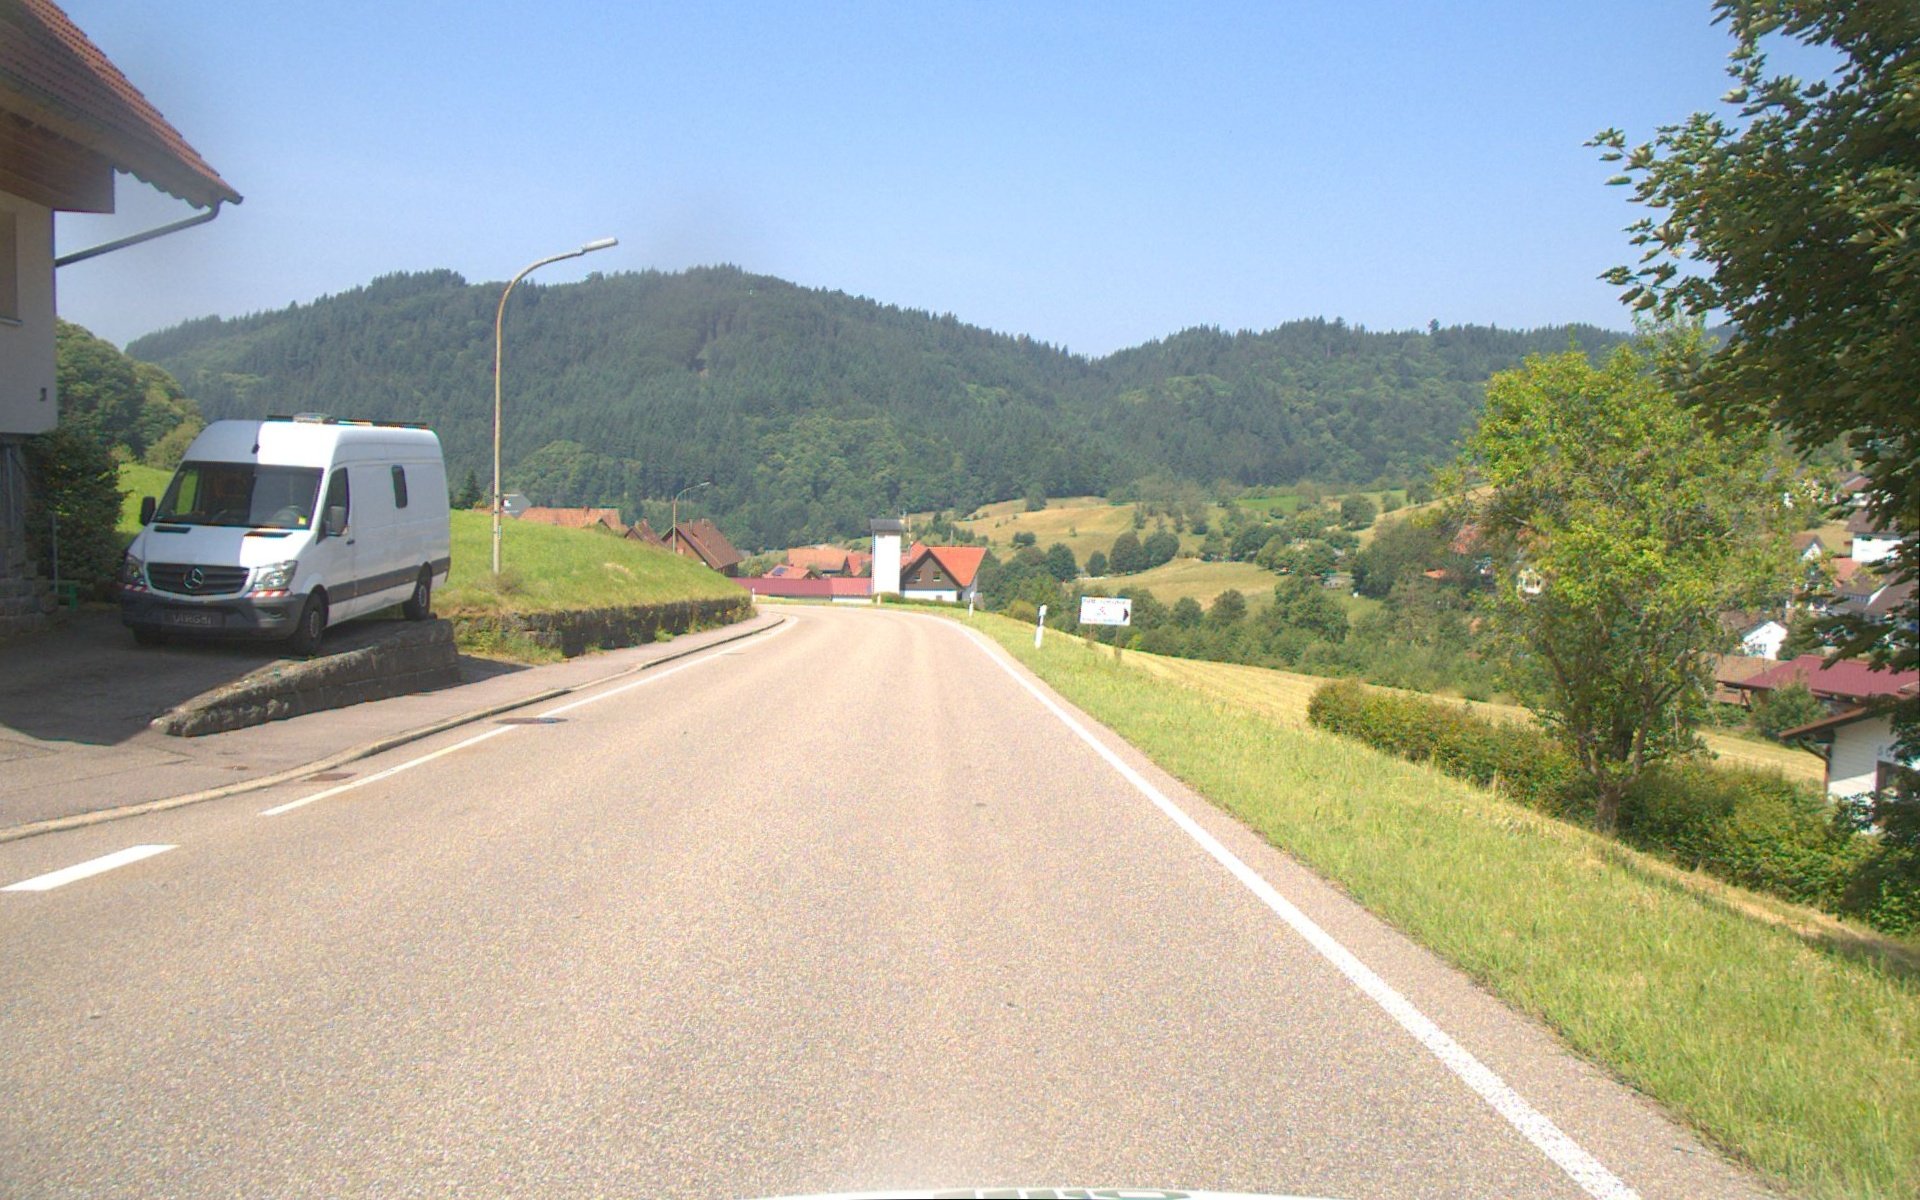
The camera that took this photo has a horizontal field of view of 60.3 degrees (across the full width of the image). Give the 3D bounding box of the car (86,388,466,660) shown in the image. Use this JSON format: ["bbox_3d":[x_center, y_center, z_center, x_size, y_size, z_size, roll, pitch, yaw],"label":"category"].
[{"bbox_3d":[-8.238,-1.028,20.917,2.026,2.734,7.173,3,4,-3],"label":"car"}]
